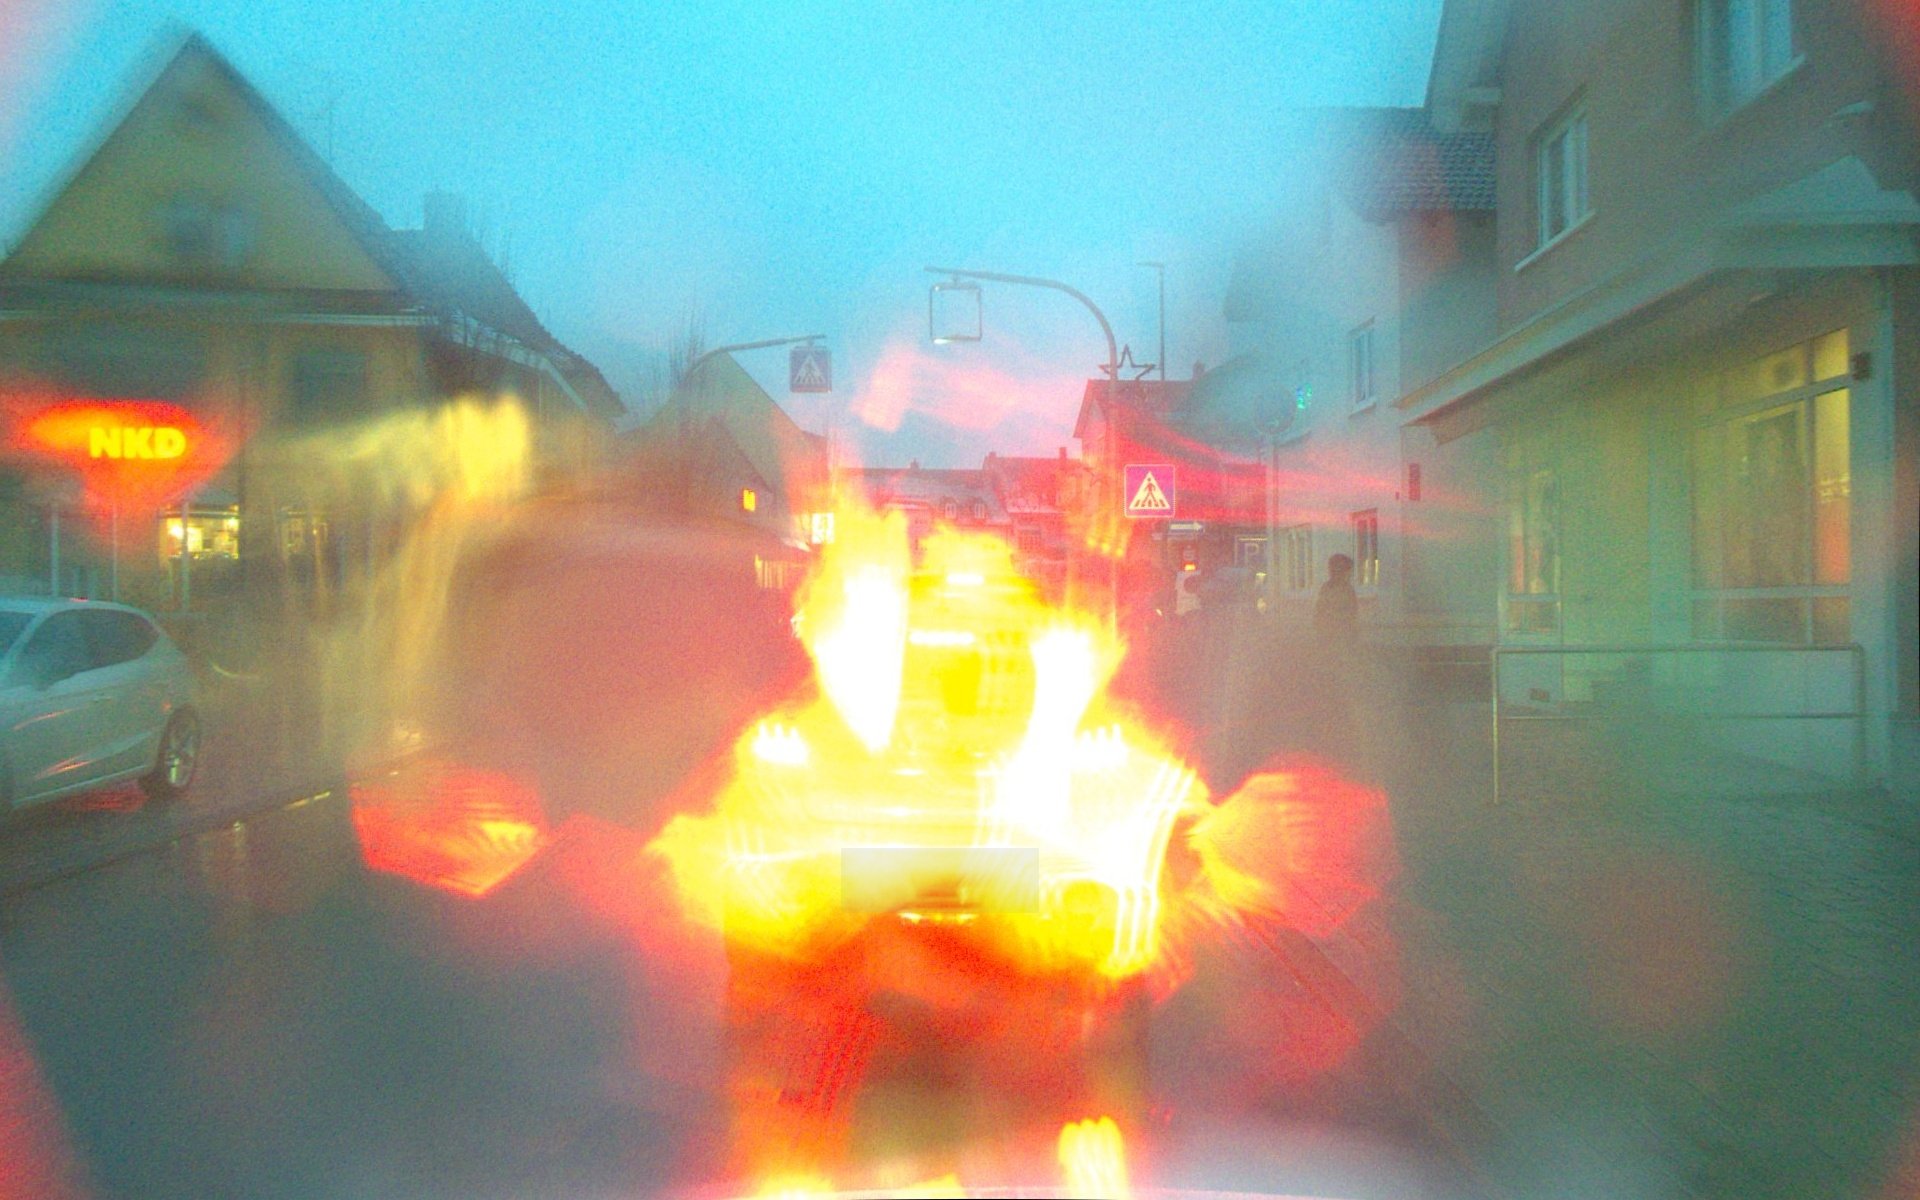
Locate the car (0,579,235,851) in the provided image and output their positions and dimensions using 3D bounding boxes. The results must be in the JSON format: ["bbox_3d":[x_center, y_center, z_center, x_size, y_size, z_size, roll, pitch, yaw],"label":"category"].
[{"bbox_3d":[-6.336,0.646,10.567,1.636,1.543,3.999,2,0,-1],"label":"car"}]

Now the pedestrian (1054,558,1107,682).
[{"bbox_3d":[1.892,0.308,26.076,0.689,1.909,0.616,1,1,-7],"label":"pedestrian"}]

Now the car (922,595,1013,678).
[{"bbox_3d":[0.218,0.712,34.688,1.789,1.629,4.582,0,0,2],"label":"car"}]

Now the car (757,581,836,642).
[{"bbox_3d":[-4.943,0.333,50.406,1.952,1.783,4.361,0,0,0],"label":"car"}]

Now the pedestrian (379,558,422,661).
[{"bbox_3d":[-9.738,0.167,28.808,0.576,1.773,0.683,0,0,-8],"label":"pedestrian"}]

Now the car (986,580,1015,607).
[{"bbox_3d":[2.314,-0.379,93.913,1.503,1.266,3.649,-5,1,2],"label":"car"}]

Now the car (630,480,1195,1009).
[{"bbox_3d":[-0.069,0.466,8.062,1.952,1.827,4.650,0,1,2],"label":"car"}]

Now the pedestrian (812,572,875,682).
[{"bbox_3d":[-1.919,0.434,27.467,0.954,1.773,0.961,1,1,-1],"label":"pedestrian"}]

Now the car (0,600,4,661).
[{"bbox_3d":[-27.885,0.859,45.112,1.815,1.750,3.991,1,0,-10],"label":"car"}]

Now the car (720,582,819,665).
[{"bbox_3d":[-4.908,0.565,43.090,1.952,2.049,4.362,0,0,1],"label":"car"}]

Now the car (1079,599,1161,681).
[{"bbox_3d":[4.301,1.038,44.947,1.609,2.049,3.998,-2,1,-3],"label":"car"}]

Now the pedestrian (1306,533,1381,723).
[{"bbox_3d":[3.992,0.286,17.267,0.649,1.921,0.824,1,-1,6],"label":"pedestrian"}]

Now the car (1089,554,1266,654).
[{"bbox_3d":[4.601,0.082,35.410,3.619,2.049,1.690,1,-1,3],"label":"car"}]

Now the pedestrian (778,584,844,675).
[{"bbox_3d":[-2.538,0.506,28.297,0.872,1.442,0.776,6,-1,4],"label":"pedestrian"}]

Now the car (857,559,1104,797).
[{"bbox_3d":[0.181,0.564,13.899,1.760,1.691,4.000,1,0,1],"label":"car"}]
